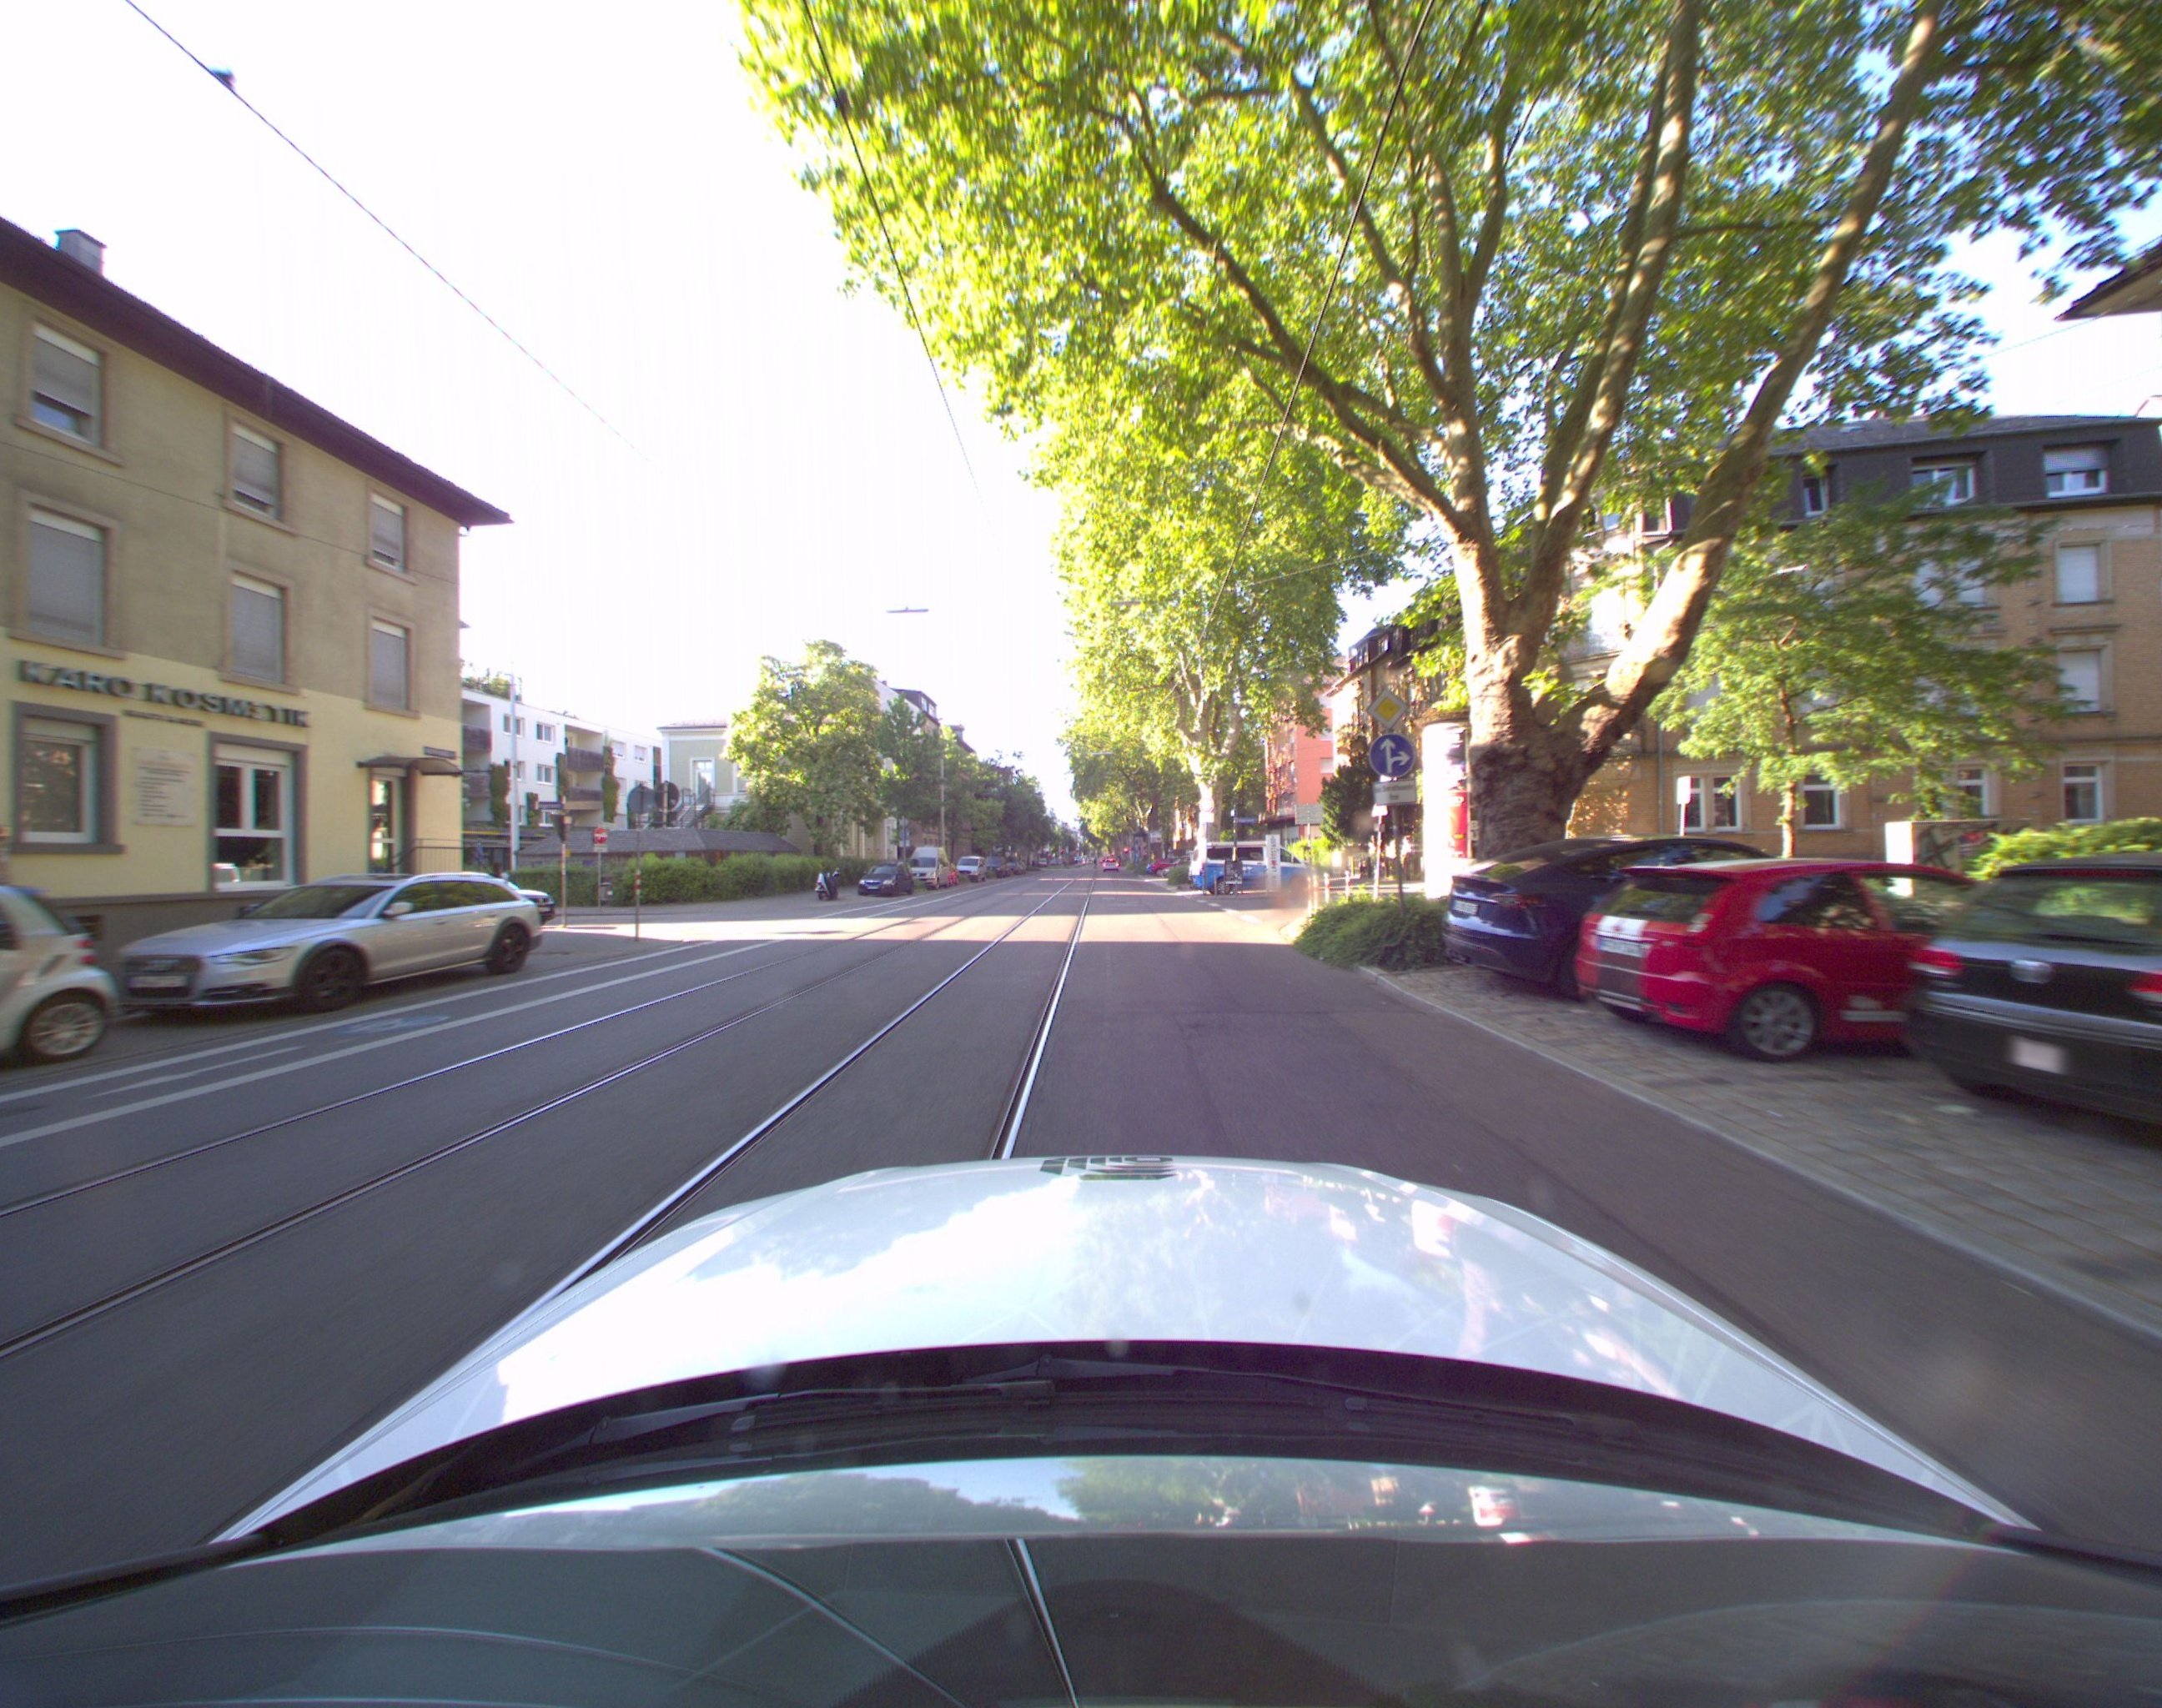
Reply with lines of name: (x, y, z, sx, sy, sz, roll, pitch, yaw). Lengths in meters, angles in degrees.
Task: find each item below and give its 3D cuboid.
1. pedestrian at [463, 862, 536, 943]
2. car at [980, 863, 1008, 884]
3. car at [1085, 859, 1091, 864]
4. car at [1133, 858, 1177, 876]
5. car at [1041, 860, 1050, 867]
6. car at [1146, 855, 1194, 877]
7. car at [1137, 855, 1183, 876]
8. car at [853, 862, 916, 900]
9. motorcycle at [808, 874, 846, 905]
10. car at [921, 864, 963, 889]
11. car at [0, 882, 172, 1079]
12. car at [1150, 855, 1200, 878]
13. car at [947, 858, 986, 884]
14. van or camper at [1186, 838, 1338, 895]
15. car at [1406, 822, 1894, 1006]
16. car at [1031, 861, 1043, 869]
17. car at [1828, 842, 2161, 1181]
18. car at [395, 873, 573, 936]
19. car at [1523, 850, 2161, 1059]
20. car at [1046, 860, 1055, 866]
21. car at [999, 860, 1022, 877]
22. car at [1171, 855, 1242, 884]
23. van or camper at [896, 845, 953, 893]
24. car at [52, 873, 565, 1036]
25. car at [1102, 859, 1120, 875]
pedestrian: (-11.856, 0.963, 16.631, 0.784, 1.592, 0.942, -1, -1, 1)
car: (-8.079, 1.763, 76.100, 1.986, 1.861, 4.179, -1, 0, 1)
car: (2.202, 2.336, 246.281, 1.630, 1.419, 3.589, -1, 0, -1)
car: (6.818, 1.181, 75.225, 3.972, 1.521, 2.001, -1, -1, 1)
car: (-7.517, 1.941, 172.663, 1.913, 1.419, 3.589, -1, 0, -1)
car: (7.583, 1.040, 69.643, 3.972, 1.785, 2.001, -1, -1, 1)
car: (7.069, 1.039, 72.915, 3.972, 1.785, 2.001, -1, -1, 1)
car: (-9.046, 1.196, 37.781, 1.781, 1.587, 4.343, 2, 0, 0)
motorcycle: (-10.469, 1.440, 33.683, 0.760, 1.107, 2.330, -1, 2, 1)
car: (-8.889, 1.401, 52.380, 1.870, 1.460, 4.207, -1, 0, 1)
car: (-9.394, 1.016, 6.136, 1.565, 1.526, 3.043, 0, -1, 3)
car: (7.745, 1.016, 67.357, 3.972, 1.785, 2.001, -1, -1, 1)
car: (-8.594, 1.260, 61.693, 2.165, 1.861, 4.660, -1, 0, 1)
van or camper: (7.181, 0.465, 32.690, 5.543, 2.013, 2.242, -2, 2, -4)
car: (5.877, 0.577, 8.814, 3.912, 1.670, 1.960, -1, 0, -1)
car: (-7.509, 1.877, 140.295, 1.912, 1.419, 3.719, -1, 0, -1)
car: (6.573, 0.641, 4.163, 3.868, 1.435, 1.754, -1, 0, 1)
car: (-16.112, 1.349, 22.065, 3.656, 1.559, 1.814, -1, -1, 9)
car: (5.911, 0.703, 6.587, 3.636, 1.378, 1.890, -1, 0, 1)
car: (-7.282, 2.224, 194.284, 1.912, 1.419, 3.589, -1, 0, -1)
car: (-7.959, 1.630, 92.030, 1.986, 1.745, 4.660, -1, 0, 1)
car: (7.546, 0.911, 49.277, 3.972, 1.609, 2.001, -1, -1, 1)
van or camper: (-8.928, 0.830, 47.020, 2.071, 2.533, 5.319, -1, 0, 1)
car: (-9.260, 1.055, 10.615, 1.830, 1.468, 5.067, 2, 0, -1)
car: (3.343, 1.435, 90.446, 1.911, 1.584, 3.792, -3, 0, 1)
